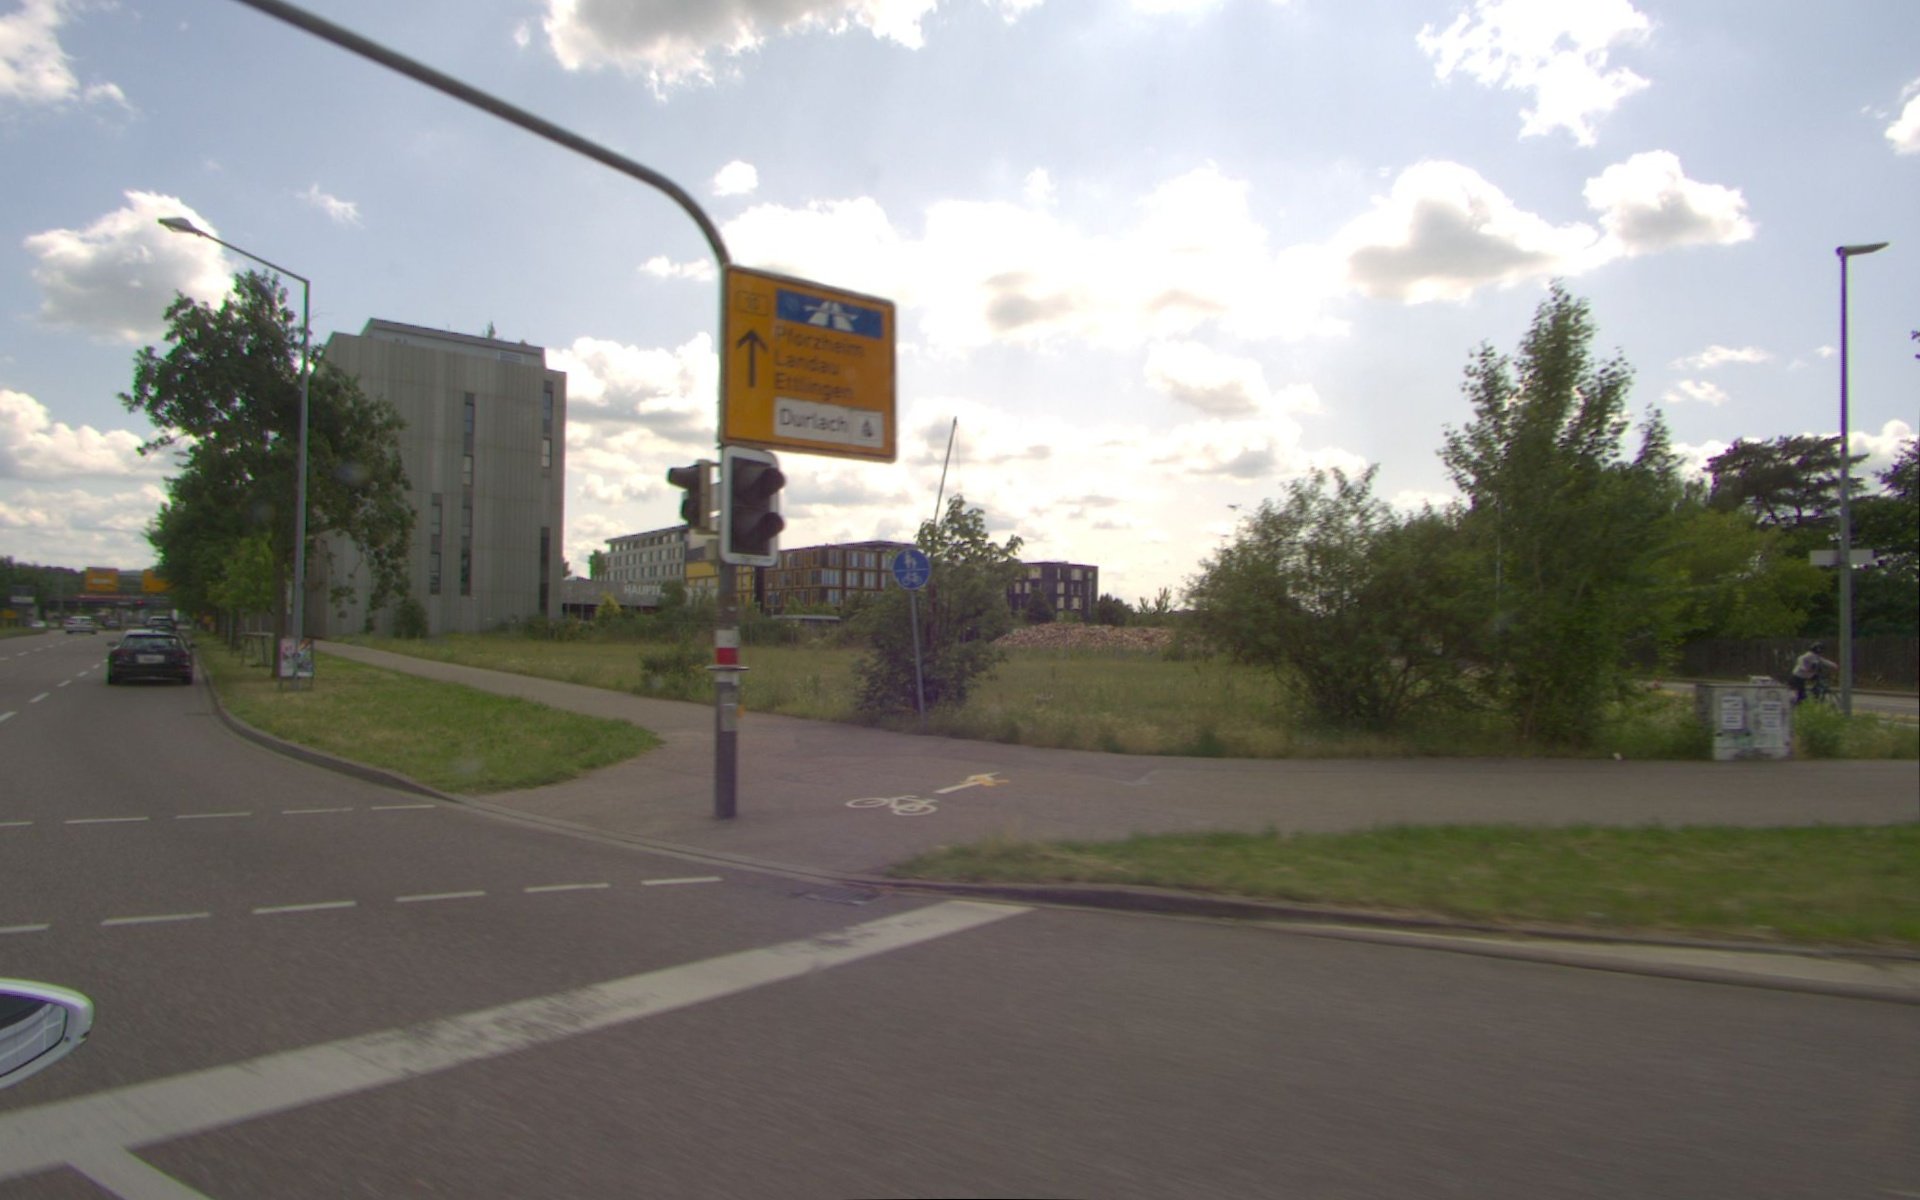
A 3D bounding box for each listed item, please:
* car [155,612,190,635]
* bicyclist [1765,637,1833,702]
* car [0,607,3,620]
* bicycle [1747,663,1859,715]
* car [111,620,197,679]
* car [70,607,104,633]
[{"bbox_3d":[-59.570,1.798,75.765,1.977,1.646,4.276,3,-2,-38],"label":"car"},{"bbox_3d":[18.030,1.500,21.533,0.860,1.341,0.812,1,-3,18],"label":"bicyclist"},{"bbox_3d":[-115.668,1.637,119.395,1.726,1.566,4.539,1,-1,-37],"label":"car"},{"bbox_3d":[18.008,1.888,21.481,0.860,1.030,2.544,1,-4,16],"label":"bicycle"},{"bbox_3d":[-22.287,1.339,27.720,1.671,1.481,3.968,4,-3,-39],"label":"car"},{"bbox_3d":[-72.442,1.684,83.138,1.980,2.038,3.966,4,-3,-40],"label":"car"}]
